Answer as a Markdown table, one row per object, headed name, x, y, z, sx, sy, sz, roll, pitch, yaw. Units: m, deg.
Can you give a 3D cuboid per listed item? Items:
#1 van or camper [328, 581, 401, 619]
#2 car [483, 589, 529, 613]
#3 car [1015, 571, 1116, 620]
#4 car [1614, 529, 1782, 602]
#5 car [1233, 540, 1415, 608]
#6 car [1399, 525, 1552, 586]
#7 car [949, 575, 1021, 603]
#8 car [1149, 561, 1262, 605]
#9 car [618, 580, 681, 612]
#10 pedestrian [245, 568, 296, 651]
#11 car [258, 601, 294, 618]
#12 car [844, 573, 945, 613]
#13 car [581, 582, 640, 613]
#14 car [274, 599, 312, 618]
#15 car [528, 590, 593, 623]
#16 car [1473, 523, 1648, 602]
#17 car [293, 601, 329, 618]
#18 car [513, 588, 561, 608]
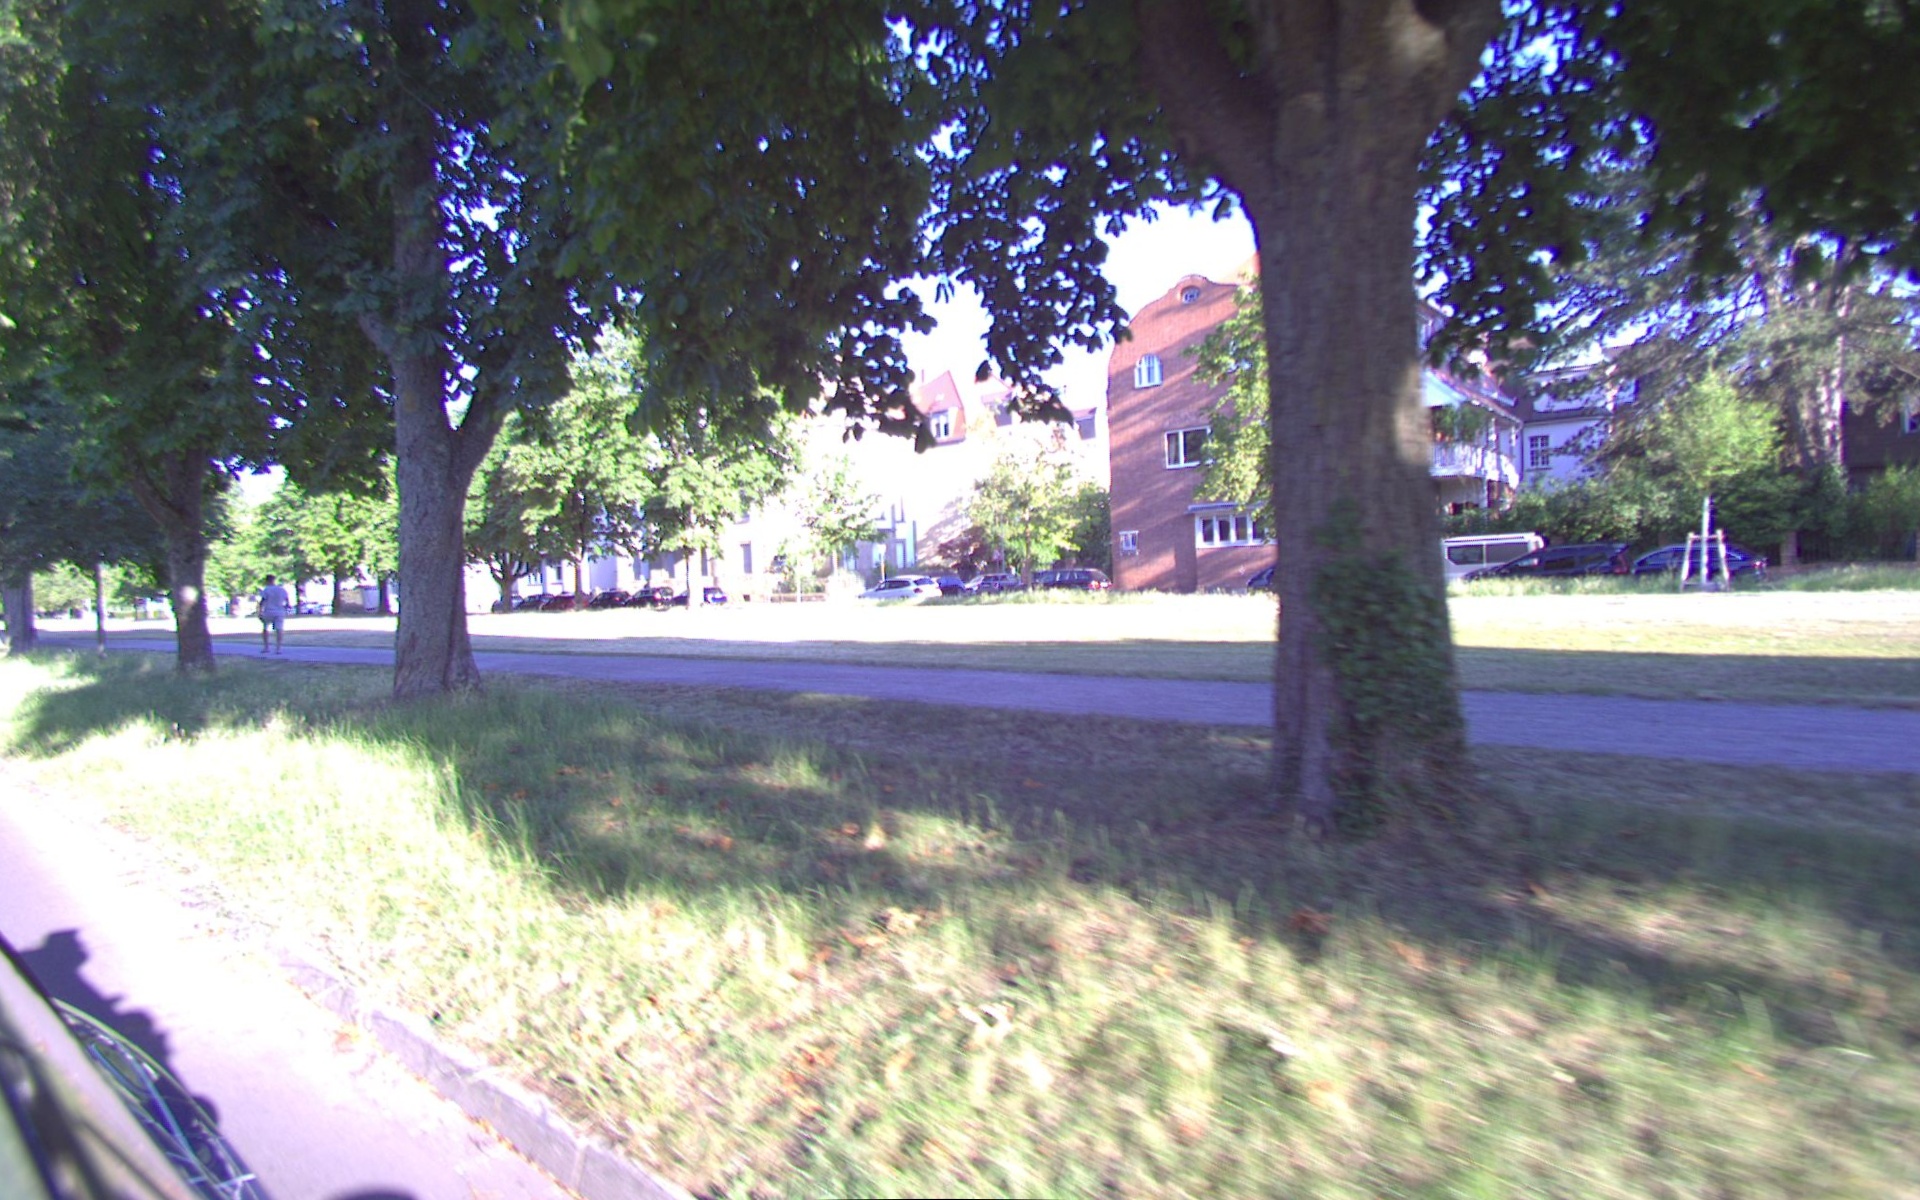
| name | x | y | z | sx | sy | sz | roll | pitch | yaw |
| --- | --- | --- | --- | --- | --- | --- | --- | --- | --- |
| van or camper | -53.119 | 0.011 | 90.149 | 7.893 | 3.134 | 3.221 | -1 | 1 | 41 |
| car | -37.707 | 0.096 | 83.978 | 4.000 | 1.747 | 1.972 | -2 | 1 | 43 |
| car | 4.825 | -0.196 | 46.676 | 4.366 | 2.028 | 1.738 | -2 | 1 | 41 |
| car | 22.845 | -1.052 | 31.406 | 3.999 | 2.028 | 1.972 | -1 | 2 | 42 |
| car | 11.912 | -0.812 | 33.385 | 5.244 | 1.955 | 1.973 | -2 | 1 | 42 |
| car | 17.985 | -1.530 | 35.402 | 4.406 | 1.851 | 1.798 | -2 | 1 | 41 |
| car | 1.716 | -0.727 | 67.550 | 2.188 | 1.619 | 4.805 | -2 | 2 | 41 |
| car | 10.360 | -0.688 | 42.847 | 4.303 | 1.635 | 1.738 | -2 | 1 | 41 |
| car | -21.511 | -0.276 | 70.015 | 4.875 | 2.028 | 1.972 | -1 | 1 | 43 |
| pedestrian | -15.217 | 0.215 | 22.335 | 0.716 | 1.771 | 0.994 | -3 | 1 | -43 |
| car | -72.288 | 1.016 | 106.948 | 4.873 | 1.703 | 1.973 | -1 | 1 | 41 |
| car | -3.041 | -0.292 | 46.341 | 4.647 | 1.651 | 1.801 | -2 | 2 | 41 |
| car | -25.230 | -0.164 | 73.046 | 4.425 | 2.028 | 1.974 | -2 | 1 | 39 |
| car | -68.089 | 0.872 | 103.232 | 4.873 | 1.703 | 1.973 | -1 | 1 | 41 |
| car | -26.387 | 0.460 | 66.731 | 4.875 | 2.028 | 1.972 | -1 | 1 | 43 |
| car | 17.154 | -1.059 | 28.986 | 3.998 | 2.028 | 1.973 | -1 | 2 | 41 |
| car | -75.583 | 1.116 | 117.820 | 4.870 | 1.703 | 1.974 | -2 | 1 | 39 |
| car | -33.933 | -0.148 | 81.190 | 4.168 | 1.440 | 1.972 | -2 | 2 | 43 |
